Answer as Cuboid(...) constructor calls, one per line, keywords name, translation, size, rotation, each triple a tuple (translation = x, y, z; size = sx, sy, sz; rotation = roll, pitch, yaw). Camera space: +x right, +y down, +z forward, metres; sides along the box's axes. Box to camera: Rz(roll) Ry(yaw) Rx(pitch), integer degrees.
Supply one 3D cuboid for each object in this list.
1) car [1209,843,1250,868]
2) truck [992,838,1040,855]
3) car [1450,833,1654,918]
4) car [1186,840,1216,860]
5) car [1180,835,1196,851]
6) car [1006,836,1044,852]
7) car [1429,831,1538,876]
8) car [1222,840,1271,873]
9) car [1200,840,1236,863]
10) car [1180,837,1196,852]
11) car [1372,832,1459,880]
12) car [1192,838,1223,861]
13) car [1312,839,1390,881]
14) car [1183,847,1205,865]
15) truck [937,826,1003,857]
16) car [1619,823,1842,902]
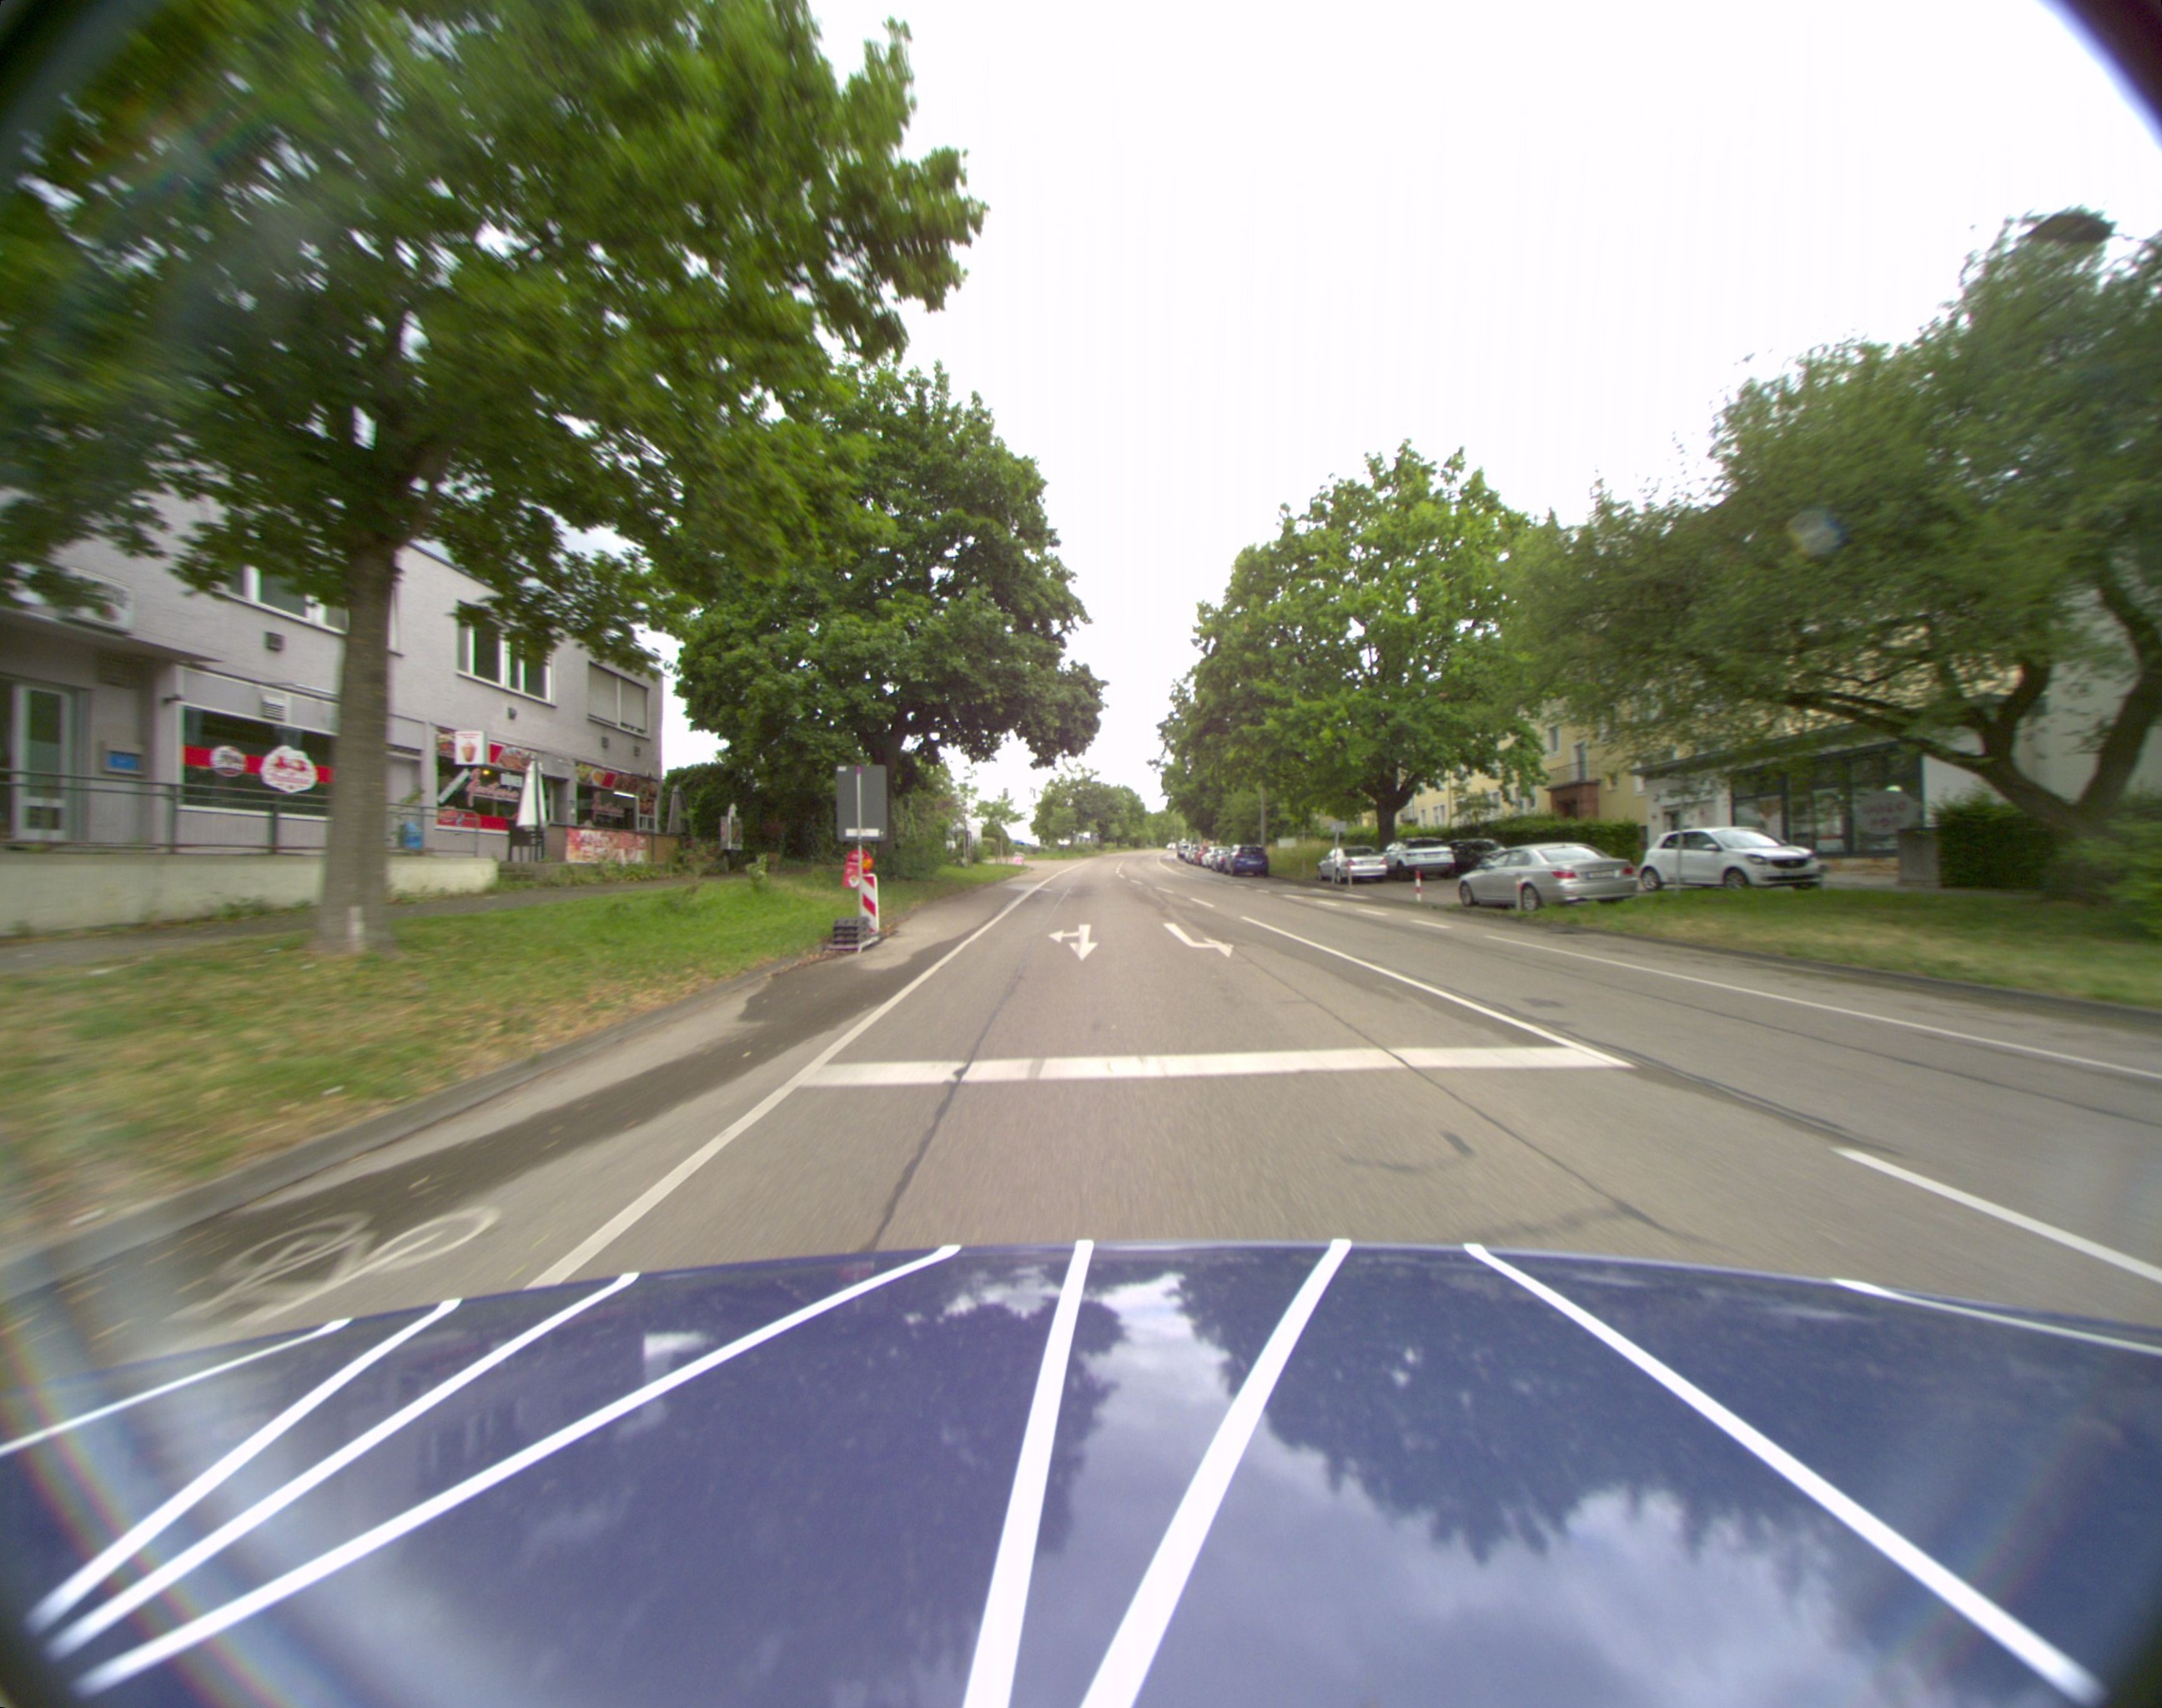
Cuboid(name="car", translation=(8.878, 0.061, 45.656), size=(1.719, 1.381, 4.338), rotation=(-1, 1, 2))
Cuboid(name="truck", translation=(-9.073, -1.065, 105.825), size=(6.259, 2.200, 2.243), rotation=(-2, 1, -20))
Cuboid(name="car", translation=(10.389, 0.389, 17.278), size=(1.766, 1.624, 4.752), rotation=(-2, 1, 1))
Cuboid(name="car", translation=(9.826, -0.369, 62.431), size=(1.873, 1.564, 4.119), rotation=(-1, 1, 2))
Cuboid(name="car", translation=(13.349, -1.332, 95.079), size=(1.870, 1.952, 5.129), rotation=(-1, 1, 7))
Cuboid(name="car", translation=(-8.415, -1.460, 113.266), size=(5.265, 2.175, 2.068), rotation=(-2, 1, -17))
Cuboid(name="car", translation=(15.101, -0.031, 28.790), size=(1.766, 1.462, 4.440), rotation=(-4, 1, 1))
Cuboid(name="car", translation=(8.723, 0.144, 40.379), size=(1.719, 1.603, 4.535), rotation=(-1, 0, 2))
Cuboid(name="car", translation=(9.328, -0.205, 52.074), size=(1.719, 1.451, 4.756), rotation=(-1, 1, 2))
Cuboid(name="car", translation=(11.855, -1.080, 84.246), size=(1.770, 1.624, 4.159), rotation=(-1, 1, 7))
Cuboid(name="car", translation=(12.923, 0.032, 29.604), size=(1.765, 1.624, 4.000), rotation=(-4, 1, 3))
Cuboid(name="car", translation=(9.507, -0.370, 57.203), size=(1.719, 1.564, 4.370), rotation=(-1, 1, 2))
Cuboid(name="car", translation=(10.596, 0.190, 30.142), size=(1.765, 1.527, 4.392), rotation=(-2, 1, 3))
Cuboid(name="car", translation=(10.123, 0.147, 68.216), size=(1.770, 1.564, 4.761), rotation=(0, 1, 6))
Cuboid(name="truck", translation=(-12.708, -1.482, 86.768), size=(7.191, 3.457, 2.615), rotation=(-1, 1, -16))
Cuboid(name="car", translation=(15.389, 0.150, 18.367), size=(1.766, 1.624, 4.287), rotation=(-2, 1, 0))
